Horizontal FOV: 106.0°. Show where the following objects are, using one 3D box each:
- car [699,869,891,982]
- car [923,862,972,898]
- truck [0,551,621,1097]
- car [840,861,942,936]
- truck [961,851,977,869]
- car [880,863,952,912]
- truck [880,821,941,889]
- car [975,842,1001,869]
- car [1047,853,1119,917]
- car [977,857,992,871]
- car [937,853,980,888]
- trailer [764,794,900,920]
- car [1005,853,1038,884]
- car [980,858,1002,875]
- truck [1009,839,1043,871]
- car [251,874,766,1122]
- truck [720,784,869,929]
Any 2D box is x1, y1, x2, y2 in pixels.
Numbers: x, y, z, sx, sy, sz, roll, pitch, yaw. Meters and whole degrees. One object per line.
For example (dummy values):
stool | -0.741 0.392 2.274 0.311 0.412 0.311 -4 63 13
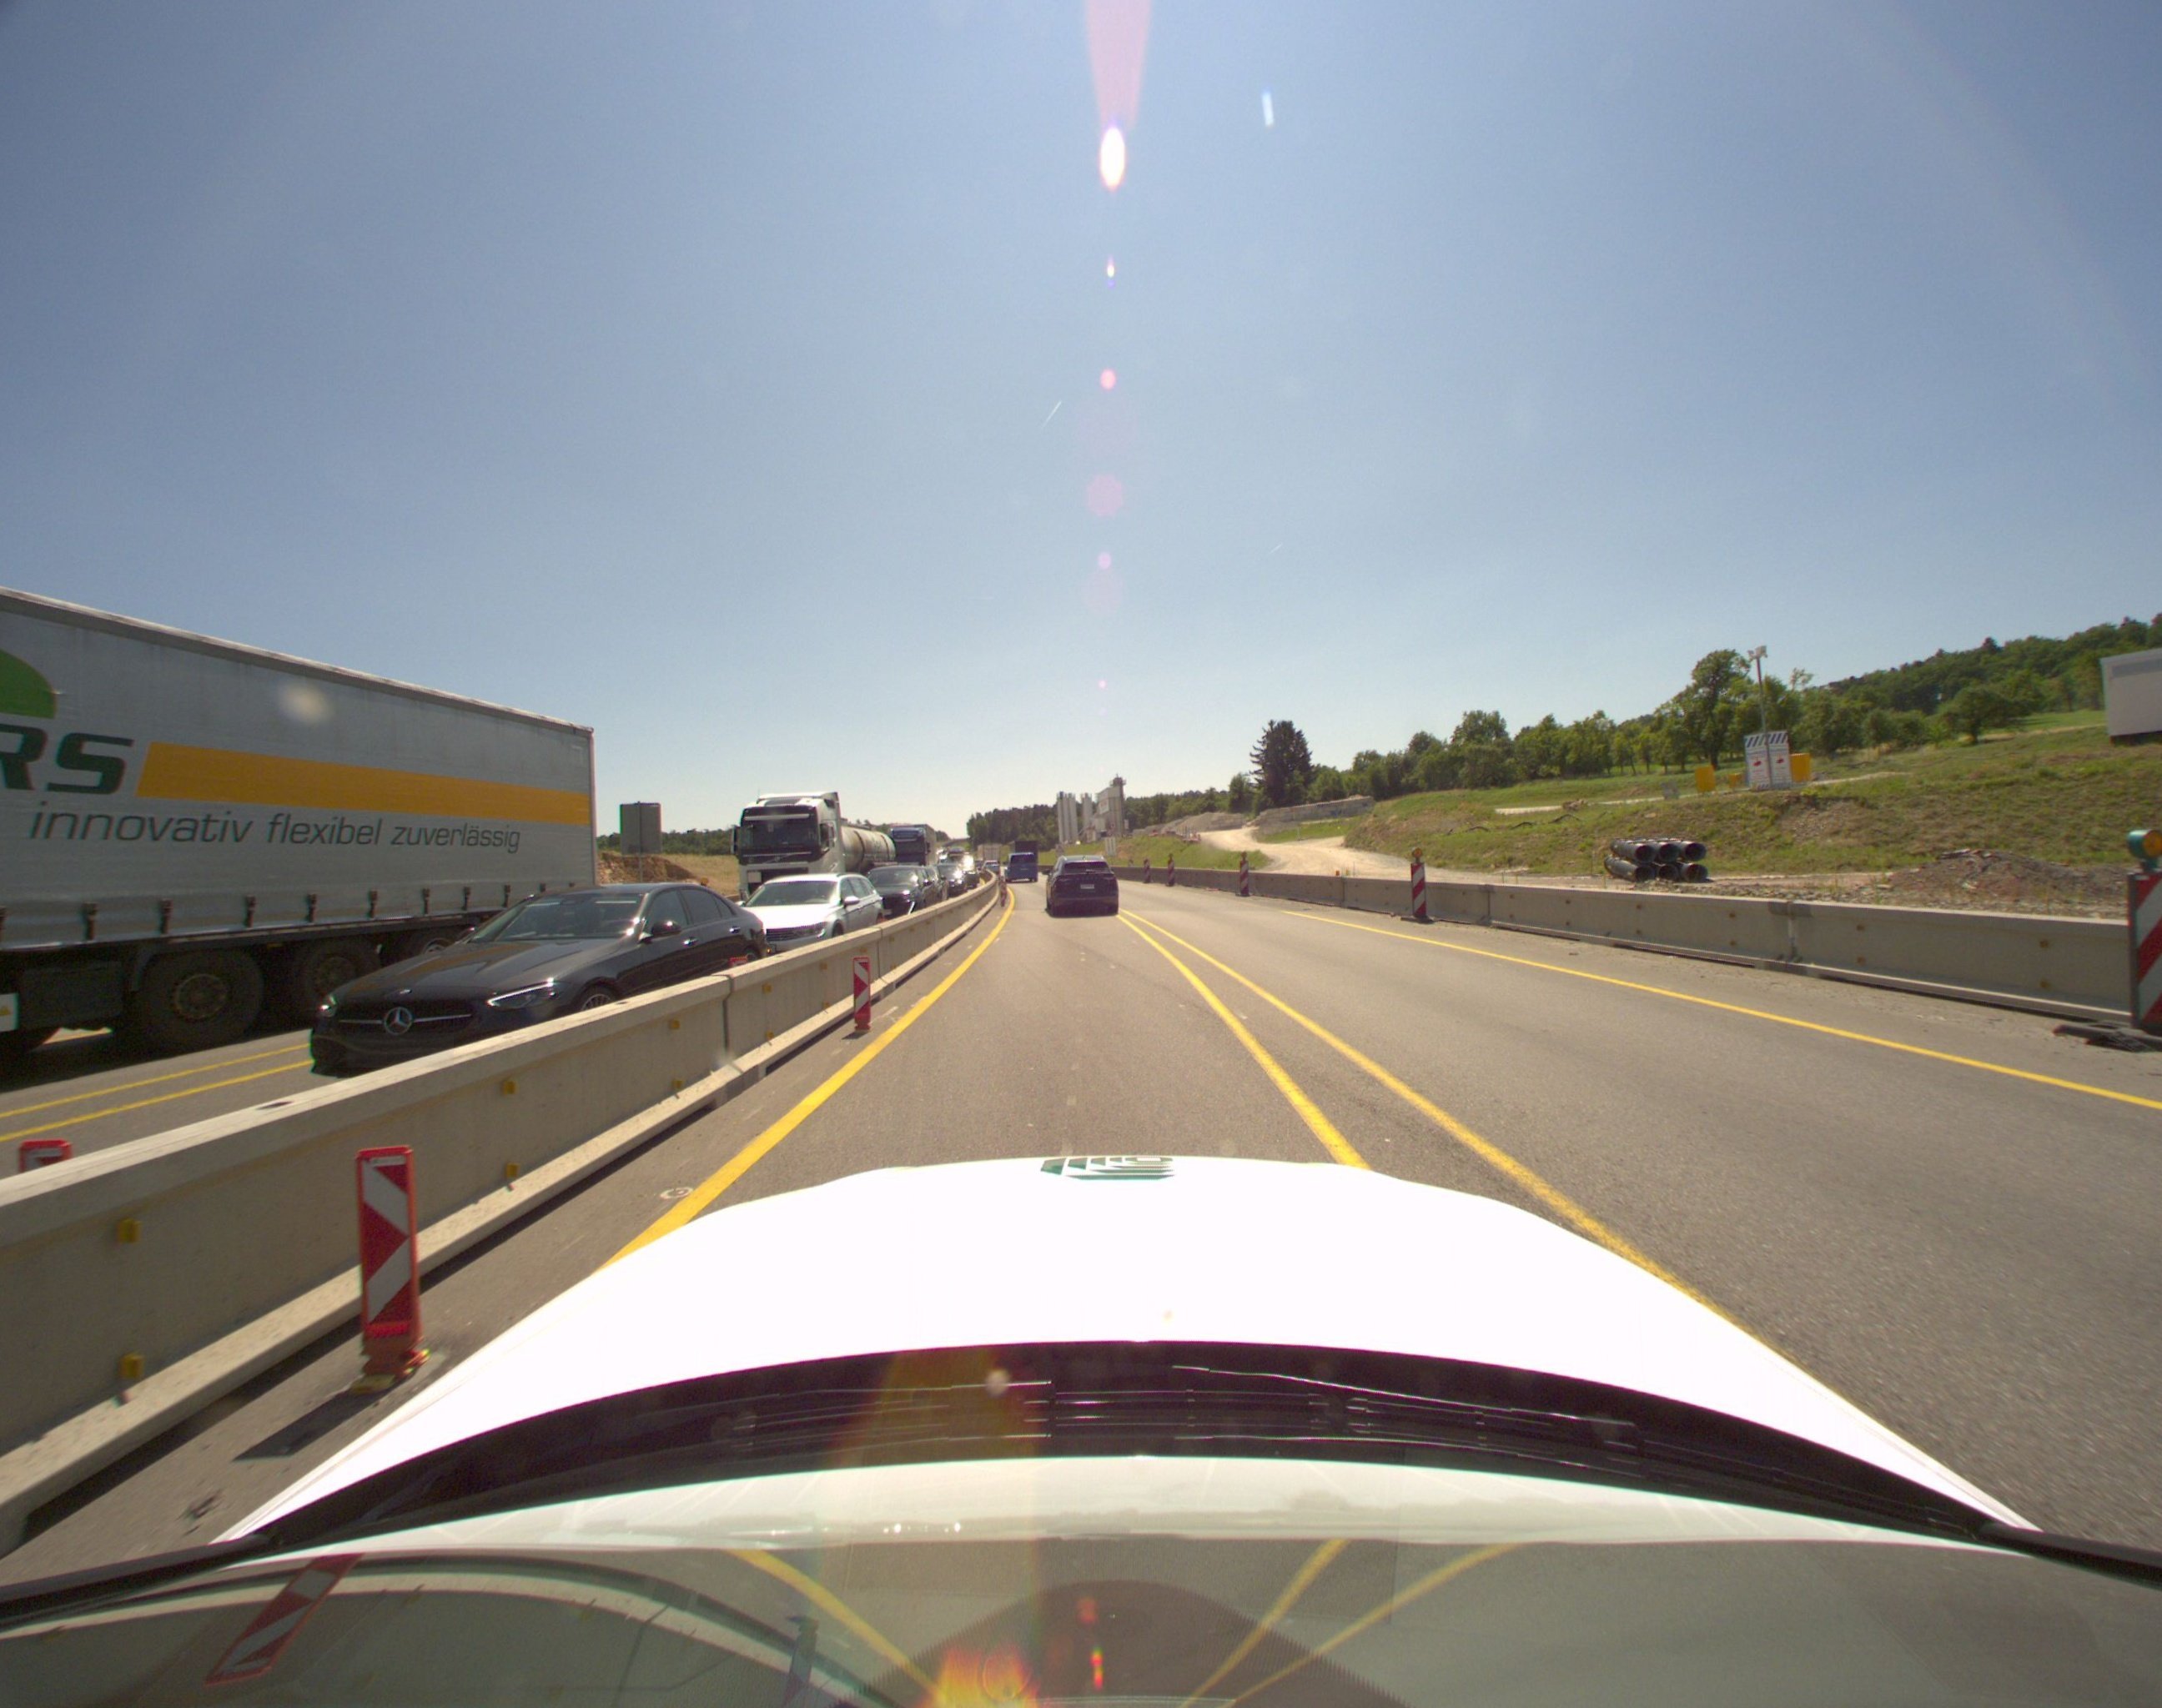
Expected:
car | -4.577 1.053 13.825 1.673 1.444 4.551 -3 0 -1
car | -6.070 1.156 37.468 1.732 1.446 4.790 -3 0 -4
truck | -9.725 -0.193 8.181 2.762 4.277 11.789 -3 0 3
car | -4.575 1.004 20.185 1.674 1.544 4.114 -2 0 -2
truck | -27.664 1.489 201.062 3.476 4.220 10.341 -3 0 -10
car | -5.549 1.087 27.976 1.732 1.416 4.790 -3 0 -4
truck | -11.629 0.077 56.577 2.769 4.137 10.849 -3 0 -5
car | -14.813 0.153 128.708 3.438 4.101 9.162 0 0 -11
car | -0.013 0.815 23.353 1.838 1.582 3.997 -2 0 -2
car | -12.479 1.244 105.420 1.819 1.644 3.857 -3 0 -6
car | -6.877 0.869 46.072 2.042 1.777 5.056 -2 0 -5
trailer | -9.375 0.085 32.234 2.701 3.977 11.222 -3 0 -5
car | -3.893 0.899 52.983 1.991 1.844 3.993 -3 0 -5
car | -9.179 1.256 82.710 2.044 1.526 5.051 -4 0 -8
truck | -5.619 0.112 82.499 2.674 2.945 5.600 -5 0 -10
car | -4.609 1.006 7.514 1.650 1.453 4.248 -3 0 1
truck | -8.911 0.070 26.157 2.694 3.969 6.191 -3 0 -4
